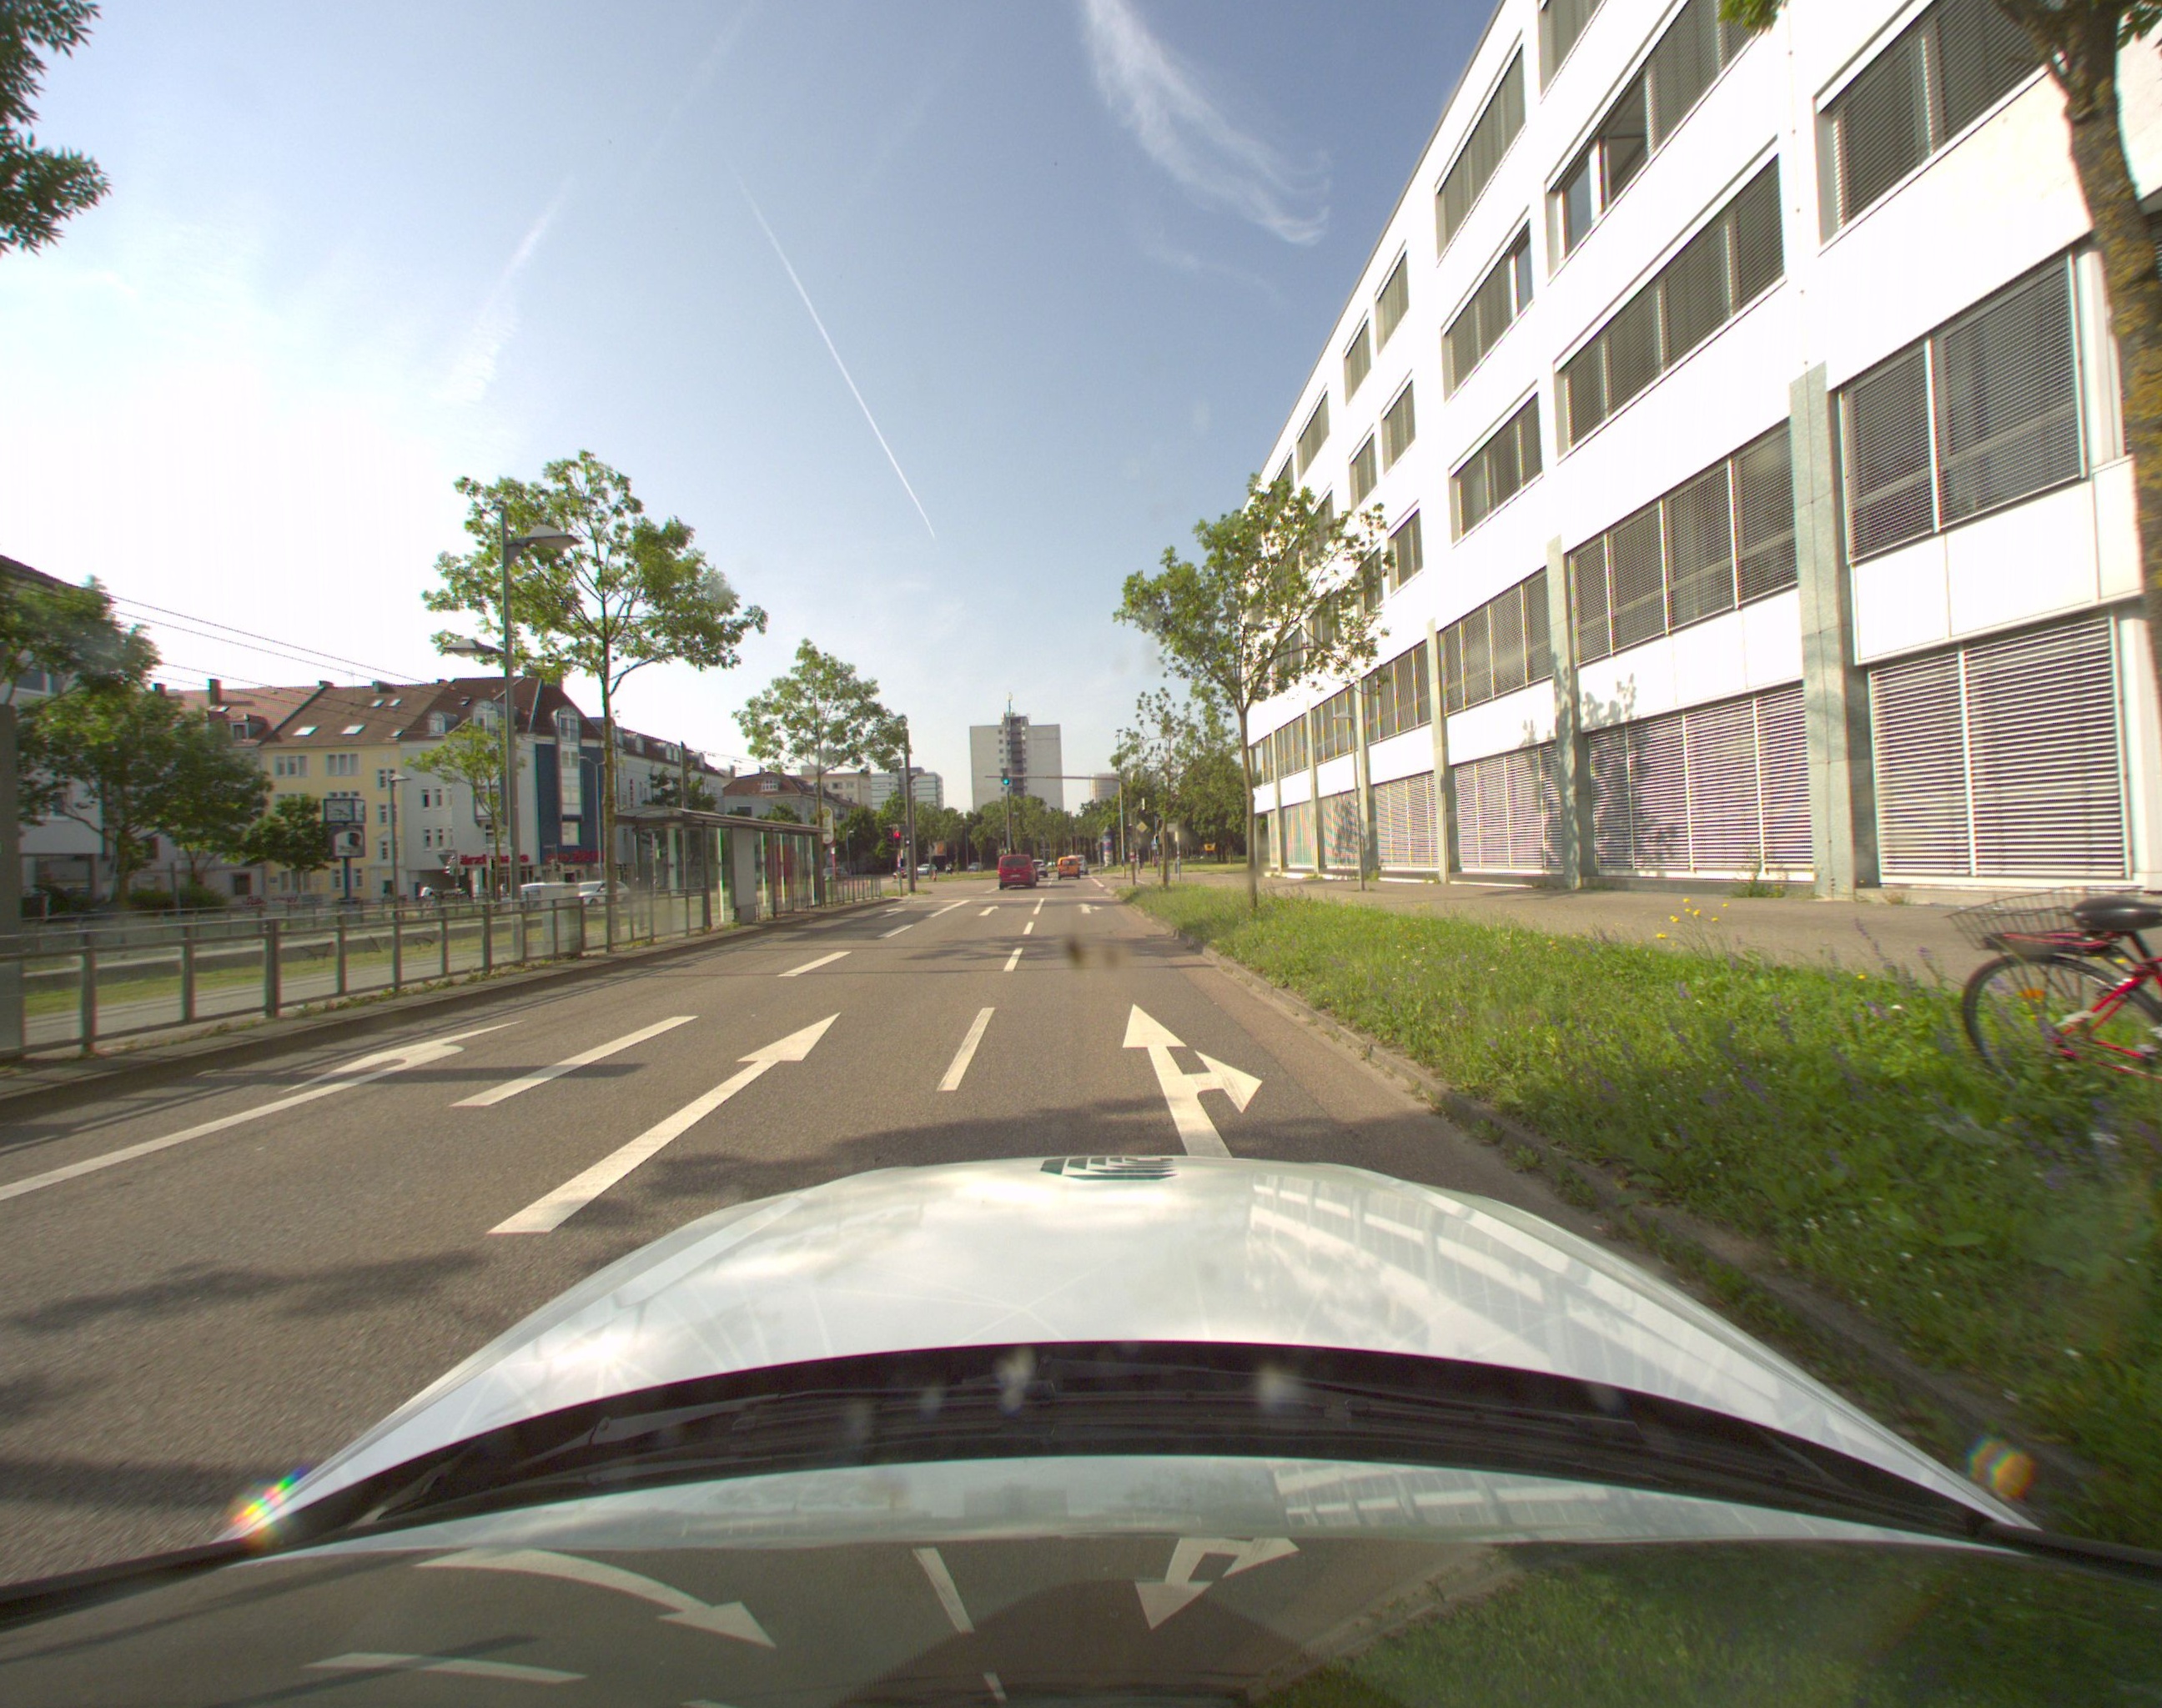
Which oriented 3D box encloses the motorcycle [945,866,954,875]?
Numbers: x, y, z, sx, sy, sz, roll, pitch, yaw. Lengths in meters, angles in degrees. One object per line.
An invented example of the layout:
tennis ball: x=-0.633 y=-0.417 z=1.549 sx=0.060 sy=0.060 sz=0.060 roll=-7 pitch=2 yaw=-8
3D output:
motorcycle: x=-17.994 y=2.239 z=111.865 sx=0.633 sy=1.167 sz=1.649 roll=-2 pitch=-1 yaw=11

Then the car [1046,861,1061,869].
car: x=-5.475 y=2.170 z=160.045 sx=1.862 sy=1.574 sz=4.014 roll=-2 pitch=-1 yaw=13

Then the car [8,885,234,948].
car: x=-36.145 y=2.282 z=30.977 sx=2.360 sy=2.031 sz=5.306 roll=-1 pitch=-1 yaw=-2

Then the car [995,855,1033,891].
car: x=-3.704 y=1.037 z=45.519 sx=1.870 sy=1.853 sz=3.996 roll=-2 pitch=-1 yaw=-3

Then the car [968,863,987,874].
car: x=-16.611 y=2.314 z=130.887 sx=1.863 sy=1.574 sz=4.012 roll=-2 pitch=-1 yaw=11

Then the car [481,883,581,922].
car: x=-25.577 y=2.230 z=38.070 sx=1.988 sy=1.596 sz=3.998 roll=-1 pitch=-1 yaw=-1

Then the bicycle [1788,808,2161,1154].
bicycle: x=3.459 y=0.366 z=2.638 sx=0.616 sy=1.017 sz=1.878 roll=-2 pitch=-1 yaw=-2

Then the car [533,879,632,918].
car: x=-22.952 y=2.017 z=37.697 sx=1.986 sy=1.596 sz=4.051 roll=-1 pitch=-1 yaw=2

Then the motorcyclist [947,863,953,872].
motorcyclist: x=-18.000 y=1.827 z=111.908 sx=0.616 sy=1.167 sz=0.552 roll=-2 pitch=-1 yaw=11

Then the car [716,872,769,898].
car: x=-23.585 y=2.144 z=56.896 sx=1.868 sy=1.574 sz=4.001 roll=-2 pitch=-1 yaw=2

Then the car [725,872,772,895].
car: x=-25.760 y=2.280 z=63.211 sx=1.868 sy=1.574 sz=4.001 roll=-2 pitch=-1 yaw=2

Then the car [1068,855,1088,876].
car: x=-0.339 y=1.187 z=83.601 sx=1.988 sy=2.014 sz=3.997 roll=-1 pitch=-1 yaw=-2

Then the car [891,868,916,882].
car: x=-20.576 y=2.397 z=94.523 sx=1.867 sy=1.574 sz=4.003 roll=-1 pitch=-1 yaw=3

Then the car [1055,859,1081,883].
car: x=-1.014 y=1.271 z=62.573 sx=1.870 sy=1.696 sz=3.971 roll=-2 pitch=-1 yaw=-1

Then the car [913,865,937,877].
car: x=-21.963 y=2.354 z=114.733 sx=1.863 sy=1.574 sz=4.235 roll=-2 pitch=-1 yaw=11

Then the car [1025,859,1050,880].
car: x=-3.795 y=1.354 z=72.290 sx=1.988 sy=1.706 sz=3.997 roll=-3 pitch=0 yaw=-2

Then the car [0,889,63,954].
car: x=-35.849 y=2.191 z=25.077 sx=2.360 sy=2.031 sz=5.306 roll=-1 pitch=-1 yaw=-2
